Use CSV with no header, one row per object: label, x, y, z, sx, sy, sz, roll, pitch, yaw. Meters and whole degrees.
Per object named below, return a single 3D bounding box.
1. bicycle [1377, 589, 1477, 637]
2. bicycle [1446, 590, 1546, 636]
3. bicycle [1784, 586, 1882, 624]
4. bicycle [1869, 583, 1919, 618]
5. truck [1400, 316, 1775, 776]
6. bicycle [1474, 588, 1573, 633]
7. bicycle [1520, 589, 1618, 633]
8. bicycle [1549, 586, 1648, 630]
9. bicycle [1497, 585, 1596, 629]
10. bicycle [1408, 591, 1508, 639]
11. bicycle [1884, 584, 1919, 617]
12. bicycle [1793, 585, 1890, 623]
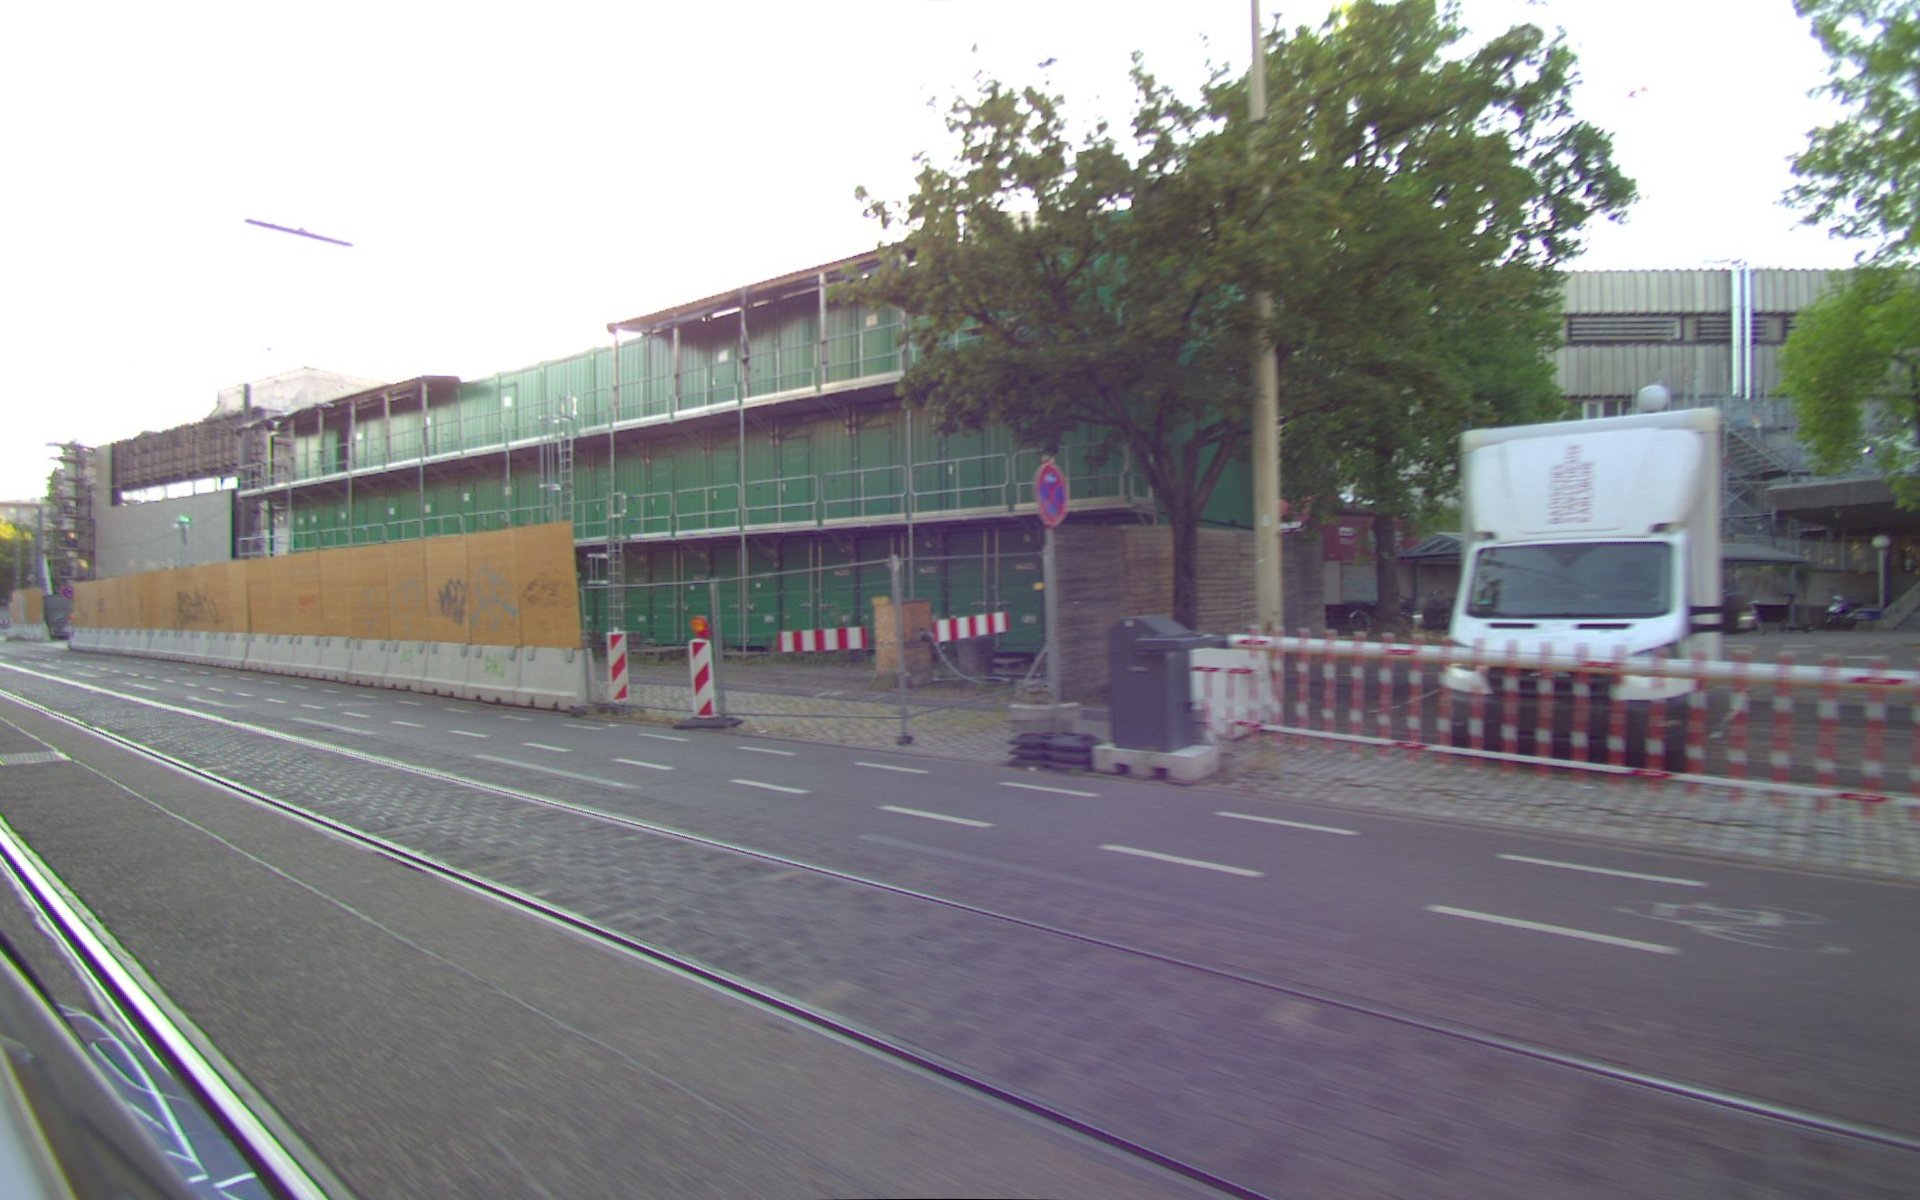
bicycle,12.191,0.348,26.483,0.798,1.191,2.271,-1,-1,-33
bicycle,14.536,0.367,27.523,0.798,1.191,2.271,-1,-1,-33
bicycle,28.419,0.178,32.989,0.798,1.191,2.271,-1,-1,-33
bicycle,33.442,0.020,35.402,0.798,1.191,2.271,-1,-1,-33
truck,7.095,-0.411,11.210,2.561,3.454,6.995,-2,-1,36
bicycle,15.558,0.306,28.003,0.798,1.191,2.271,-1,-1,-33
bicycle,17.346,0.320,28.893,0.798,1.191,2.271,-1,-1,-33
bicycle,18.423,0.239,29.252,0.798,1.191,2.271,-1,-1,-33
bicycle,16.540,0.214,28.596,0.798,1.191,2.271,-1,-1,-33
bicycle,13.152,0.398,26.784,0.798,1.191,2.271,-1,-1,-33
bicycle,34.386,0.007,35.860,0.798,1.191,2.271,-1,-1,-33
bicycle,29.230,0.150,33.597,0.798,1.191,2.271,-1,-1,-33
